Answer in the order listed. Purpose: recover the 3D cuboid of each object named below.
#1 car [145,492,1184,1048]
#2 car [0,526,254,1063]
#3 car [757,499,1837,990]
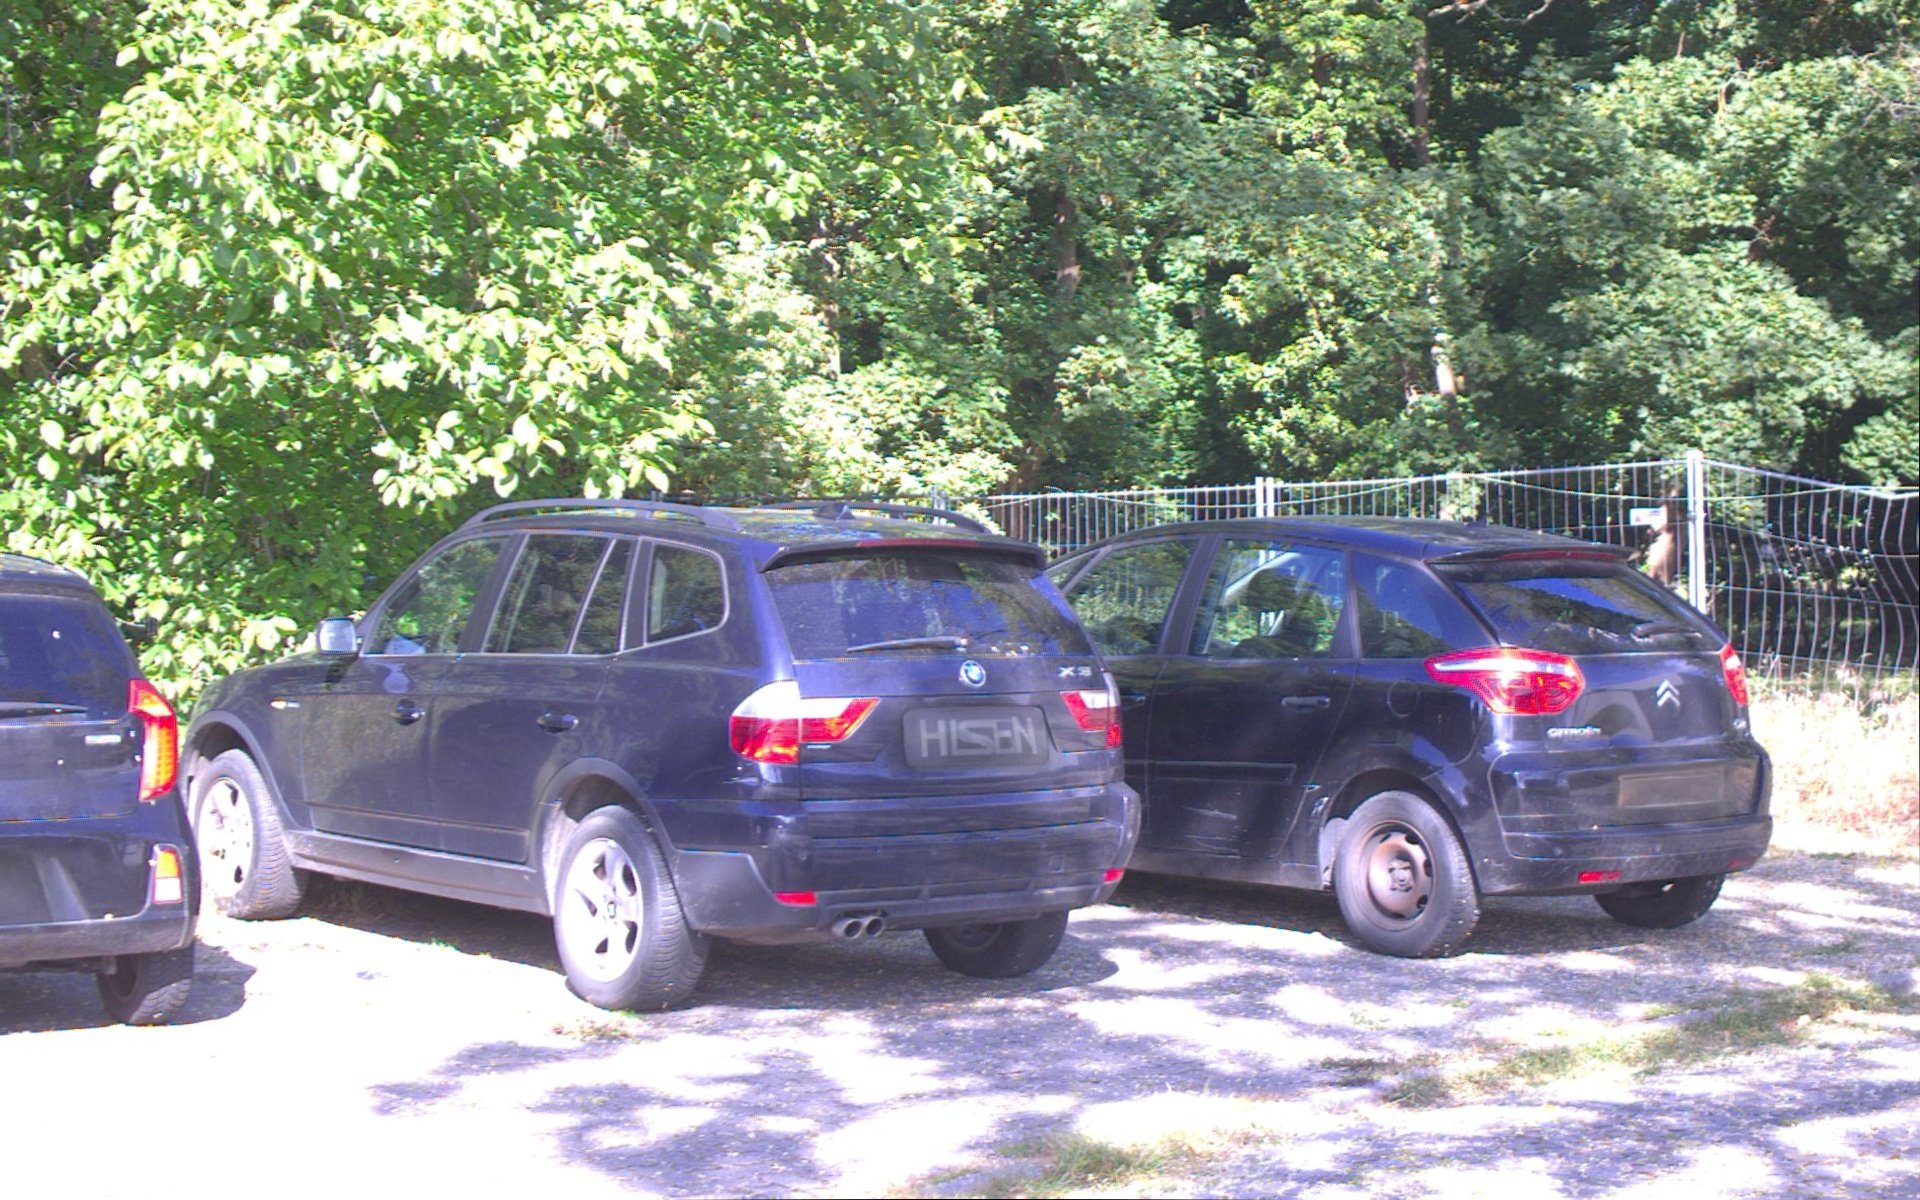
[{"bbox_3d":[-1.257,0.458,12.655,1.812,1.650,4.190,-1,2,-38],"label":"car"},{"bbox_3d":[-3.776,0.506,11.326,1.673,1.510,3.552,1,2,-32],"label":"car"},{"bbox_3d":[1.269,0.463,14.398,4.298,1.646,1.789,4,3,45],"label":"car"}]
